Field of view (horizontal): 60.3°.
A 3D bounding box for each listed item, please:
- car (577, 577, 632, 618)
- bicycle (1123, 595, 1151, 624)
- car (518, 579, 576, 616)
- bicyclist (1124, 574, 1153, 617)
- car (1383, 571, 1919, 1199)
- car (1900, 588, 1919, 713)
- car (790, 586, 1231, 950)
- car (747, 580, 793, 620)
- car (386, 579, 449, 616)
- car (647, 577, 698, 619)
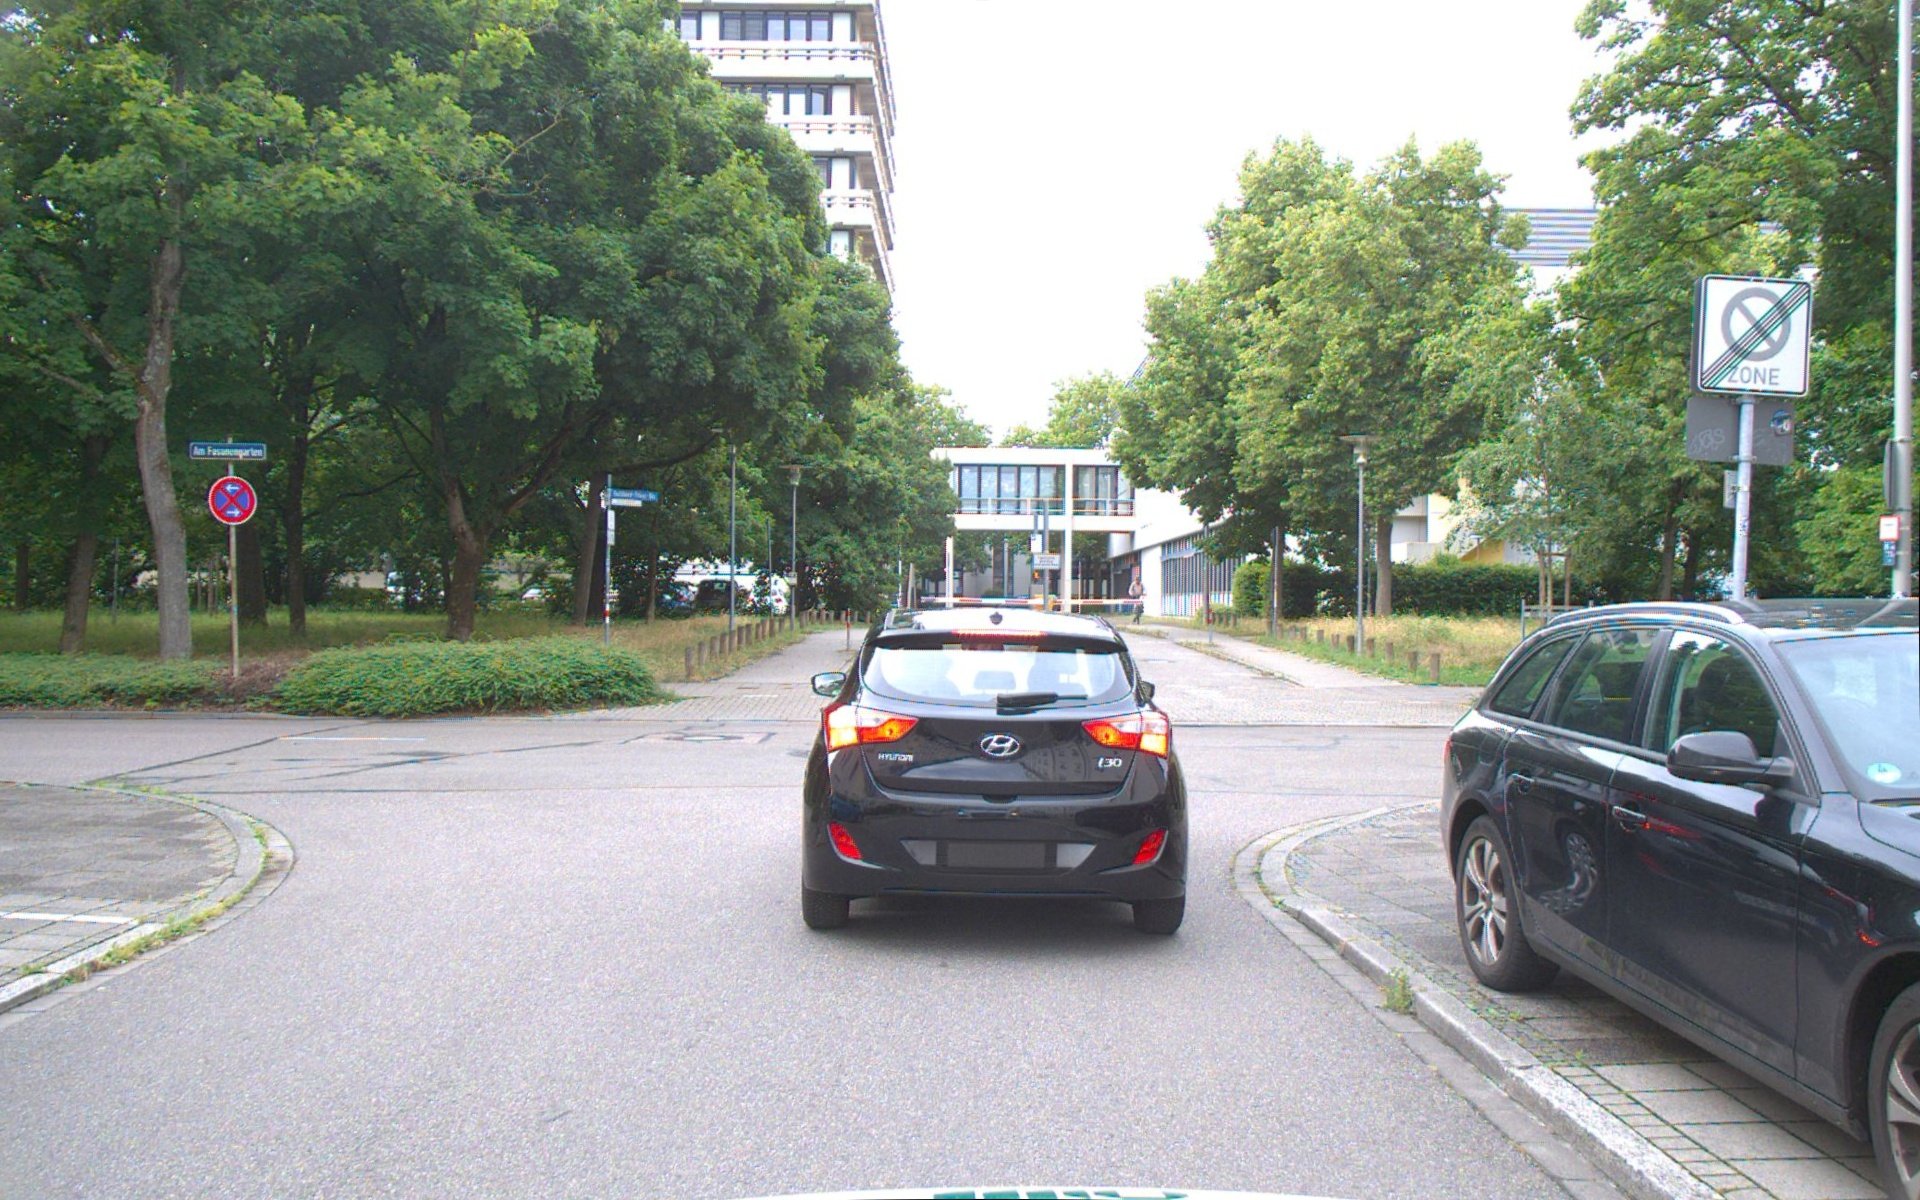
[{"bbox_3d":[-16.298,-0.091,76.030,1.954,1.758,3.995,0,-2,-5],"label":"car"},{"bbox_3d":[6.919,0.377,64.717,0.849,1.093,2.142,0,1,0],"label":"bicycle"},{"bbox_3d":[-18.964,-0.123,76.051,1.954,1.646,3.996,0,0,-5],"label":"car"},{"bbox_3d":[6.986,-0.175,64.783,0.996,1.673,0.923,0,0,0],"label":"bicyclist"},{"bbox_3d":[2.886,0.666,4.937,1.823,1.488,4.723,-1,0,-3],"label":"car"},{"bbox_3d":[13.491,0.616,19.299,4.021,1.488,1.869,0,0,-3],"label":"car"},{"bbox_3d":[0.116,0.704,8.730,1.809,1.488,3.825,1,0,-3],"label":"car"},{"bbox_3d":[-8.759,0.012,76.554,1.954,1.793,3.996,0,-1,-5],"label":"car"},{"bbox_3d":[-25.051,-0.101,76.470,1.880,1.646,3.996,0,0,-5],"label":"car"},{"bbox_3d":[-13.259,-0.048,76.412,1.954,1.825,3.995,0,-2,-5],"label":"car"}]
